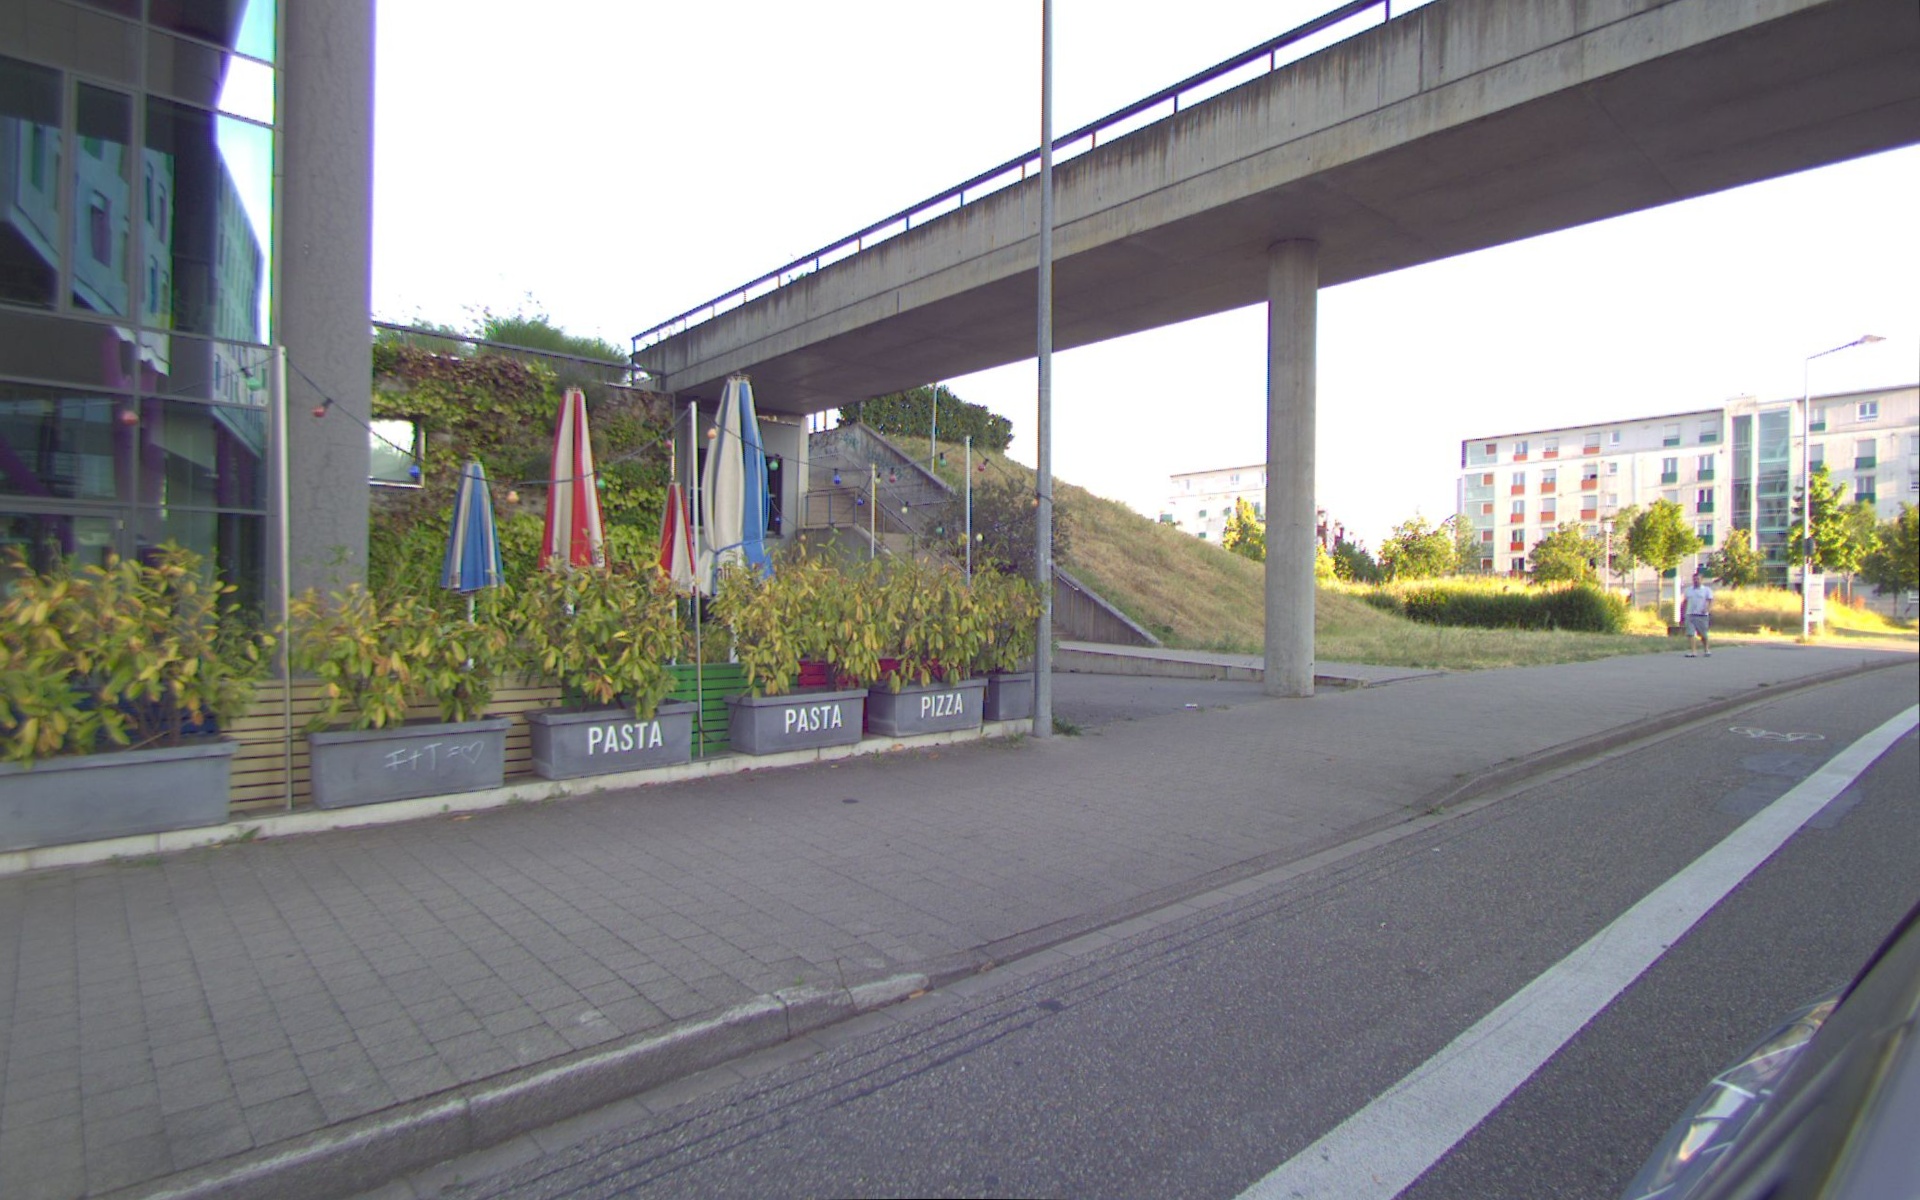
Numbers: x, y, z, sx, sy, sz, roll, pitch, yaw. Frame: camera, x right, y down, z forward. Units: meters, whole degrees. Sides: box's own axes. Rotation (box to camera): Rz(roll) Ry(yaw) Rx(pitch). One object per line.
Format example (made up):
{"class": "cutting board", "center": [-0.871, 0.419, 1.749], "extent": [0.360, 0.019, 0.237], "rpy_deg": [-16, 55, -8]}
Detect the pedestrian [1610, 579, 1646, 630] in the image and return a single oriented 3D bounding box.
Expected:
{"class": "pedestrian", "center": [22.055, 0.147, 33.414], "extent": [0.844, 1.649, 0.737], "rpy_deg": [1, 2, -40]}

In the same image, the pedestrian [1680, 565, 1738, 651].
{"class": "pedestrian", "center": [15.730, 0.165, 21.264], "extent": [0.890, 1.745, 0.737], "rpy_deg": [1, 2, -40]}
